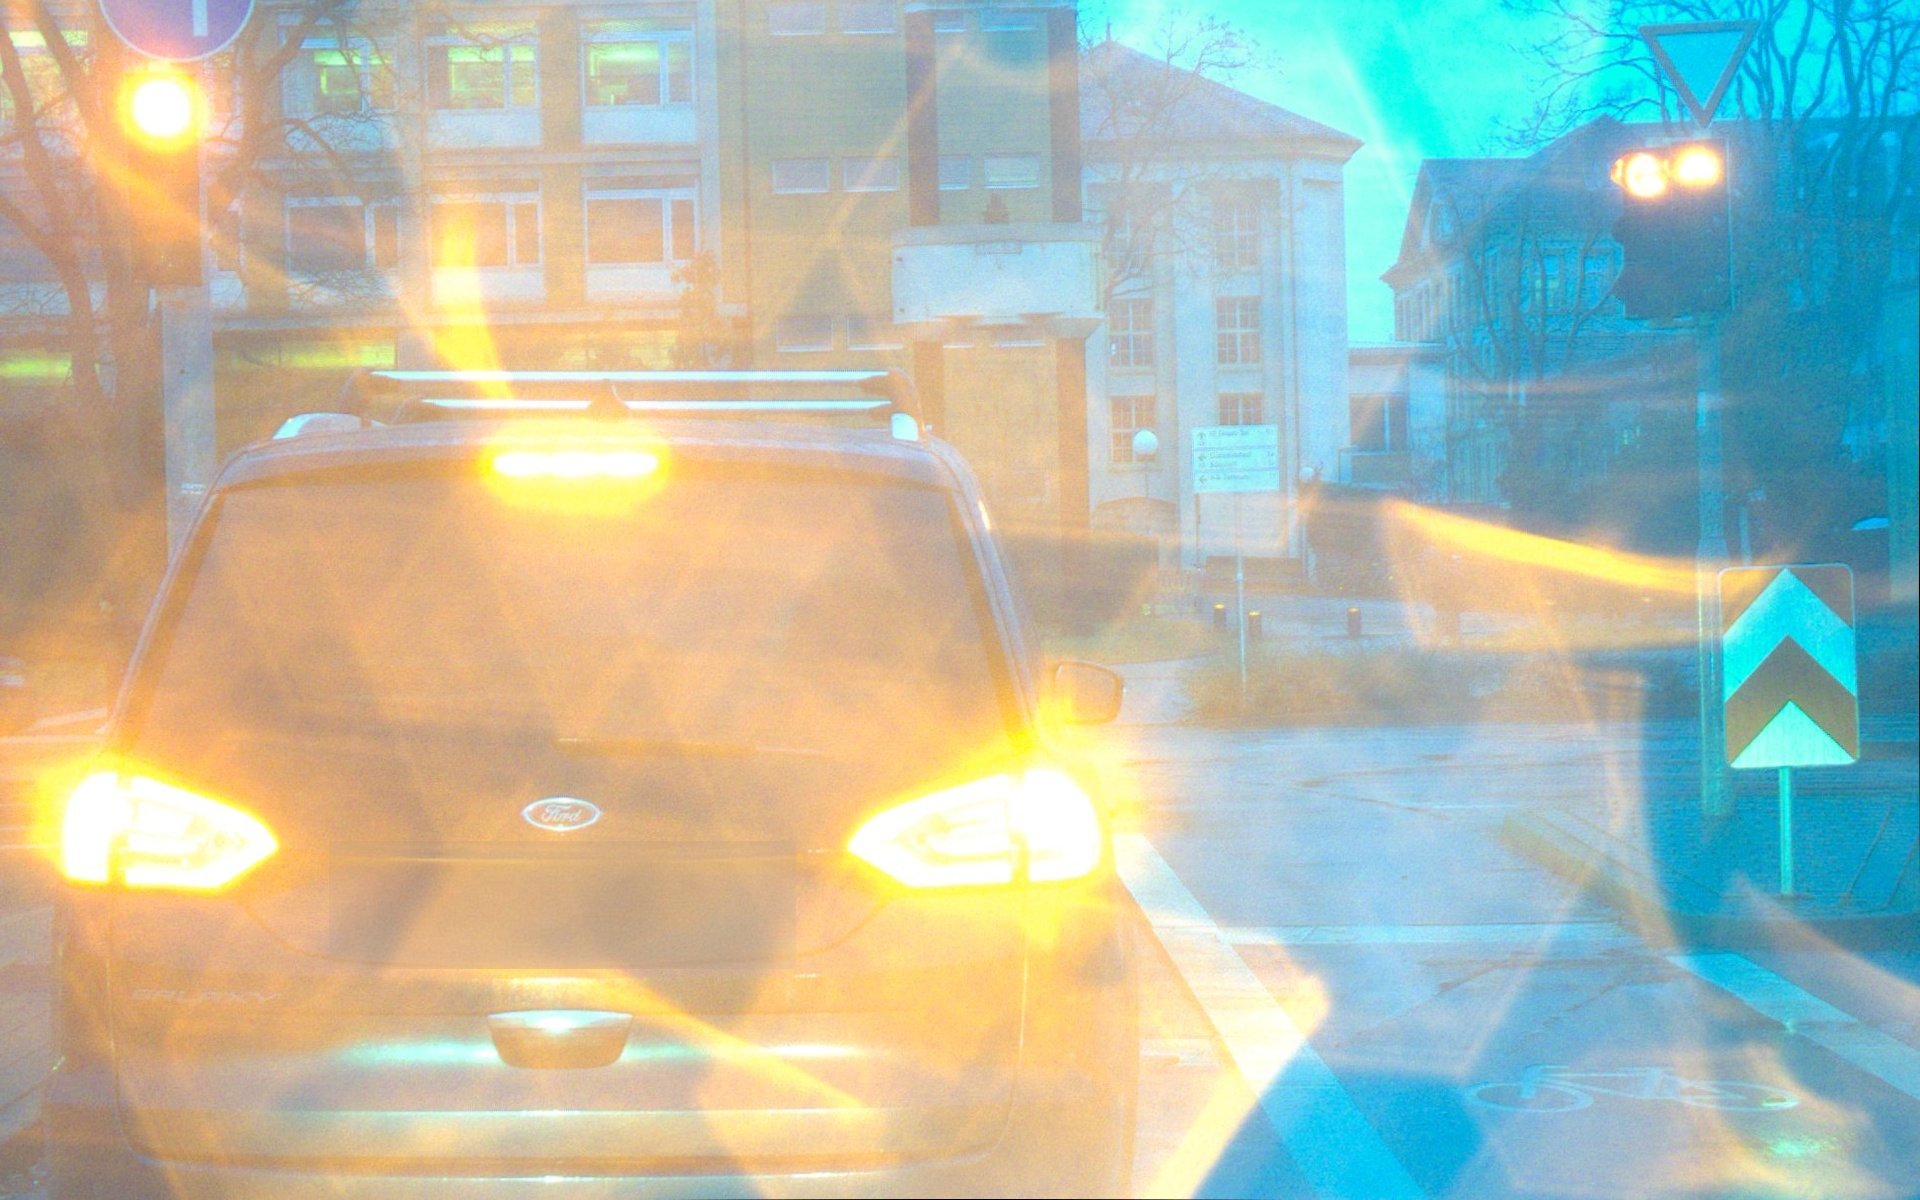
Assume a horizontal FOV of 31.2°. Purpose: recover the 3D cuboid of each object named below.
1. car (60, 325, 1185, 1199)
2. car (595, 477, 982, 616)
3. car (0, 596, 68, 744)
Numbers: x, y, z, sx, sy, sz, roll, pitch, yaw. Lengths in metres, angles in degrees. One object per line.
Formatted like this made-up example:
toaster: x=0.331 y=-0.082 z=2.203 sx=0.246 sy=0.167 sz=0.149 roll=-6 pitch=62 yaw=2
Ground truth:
car: x=-0.520 y=0.463 z=7.055 sx=1.647 sy=1.812 sz=4.000 roll=0 pitch=1 yaw=-1
car: x=-2.525 y=-0.781 z=51.454 sx=5.548 sy=2.017 sz=1.999 roll=0 pitch=-1 yaw=6
car: x=-12.242 y=0.750 z=37.531 sx=4.436 sy=1.575 sz=1.967 roll=0 pitch=-1 yaw=13
